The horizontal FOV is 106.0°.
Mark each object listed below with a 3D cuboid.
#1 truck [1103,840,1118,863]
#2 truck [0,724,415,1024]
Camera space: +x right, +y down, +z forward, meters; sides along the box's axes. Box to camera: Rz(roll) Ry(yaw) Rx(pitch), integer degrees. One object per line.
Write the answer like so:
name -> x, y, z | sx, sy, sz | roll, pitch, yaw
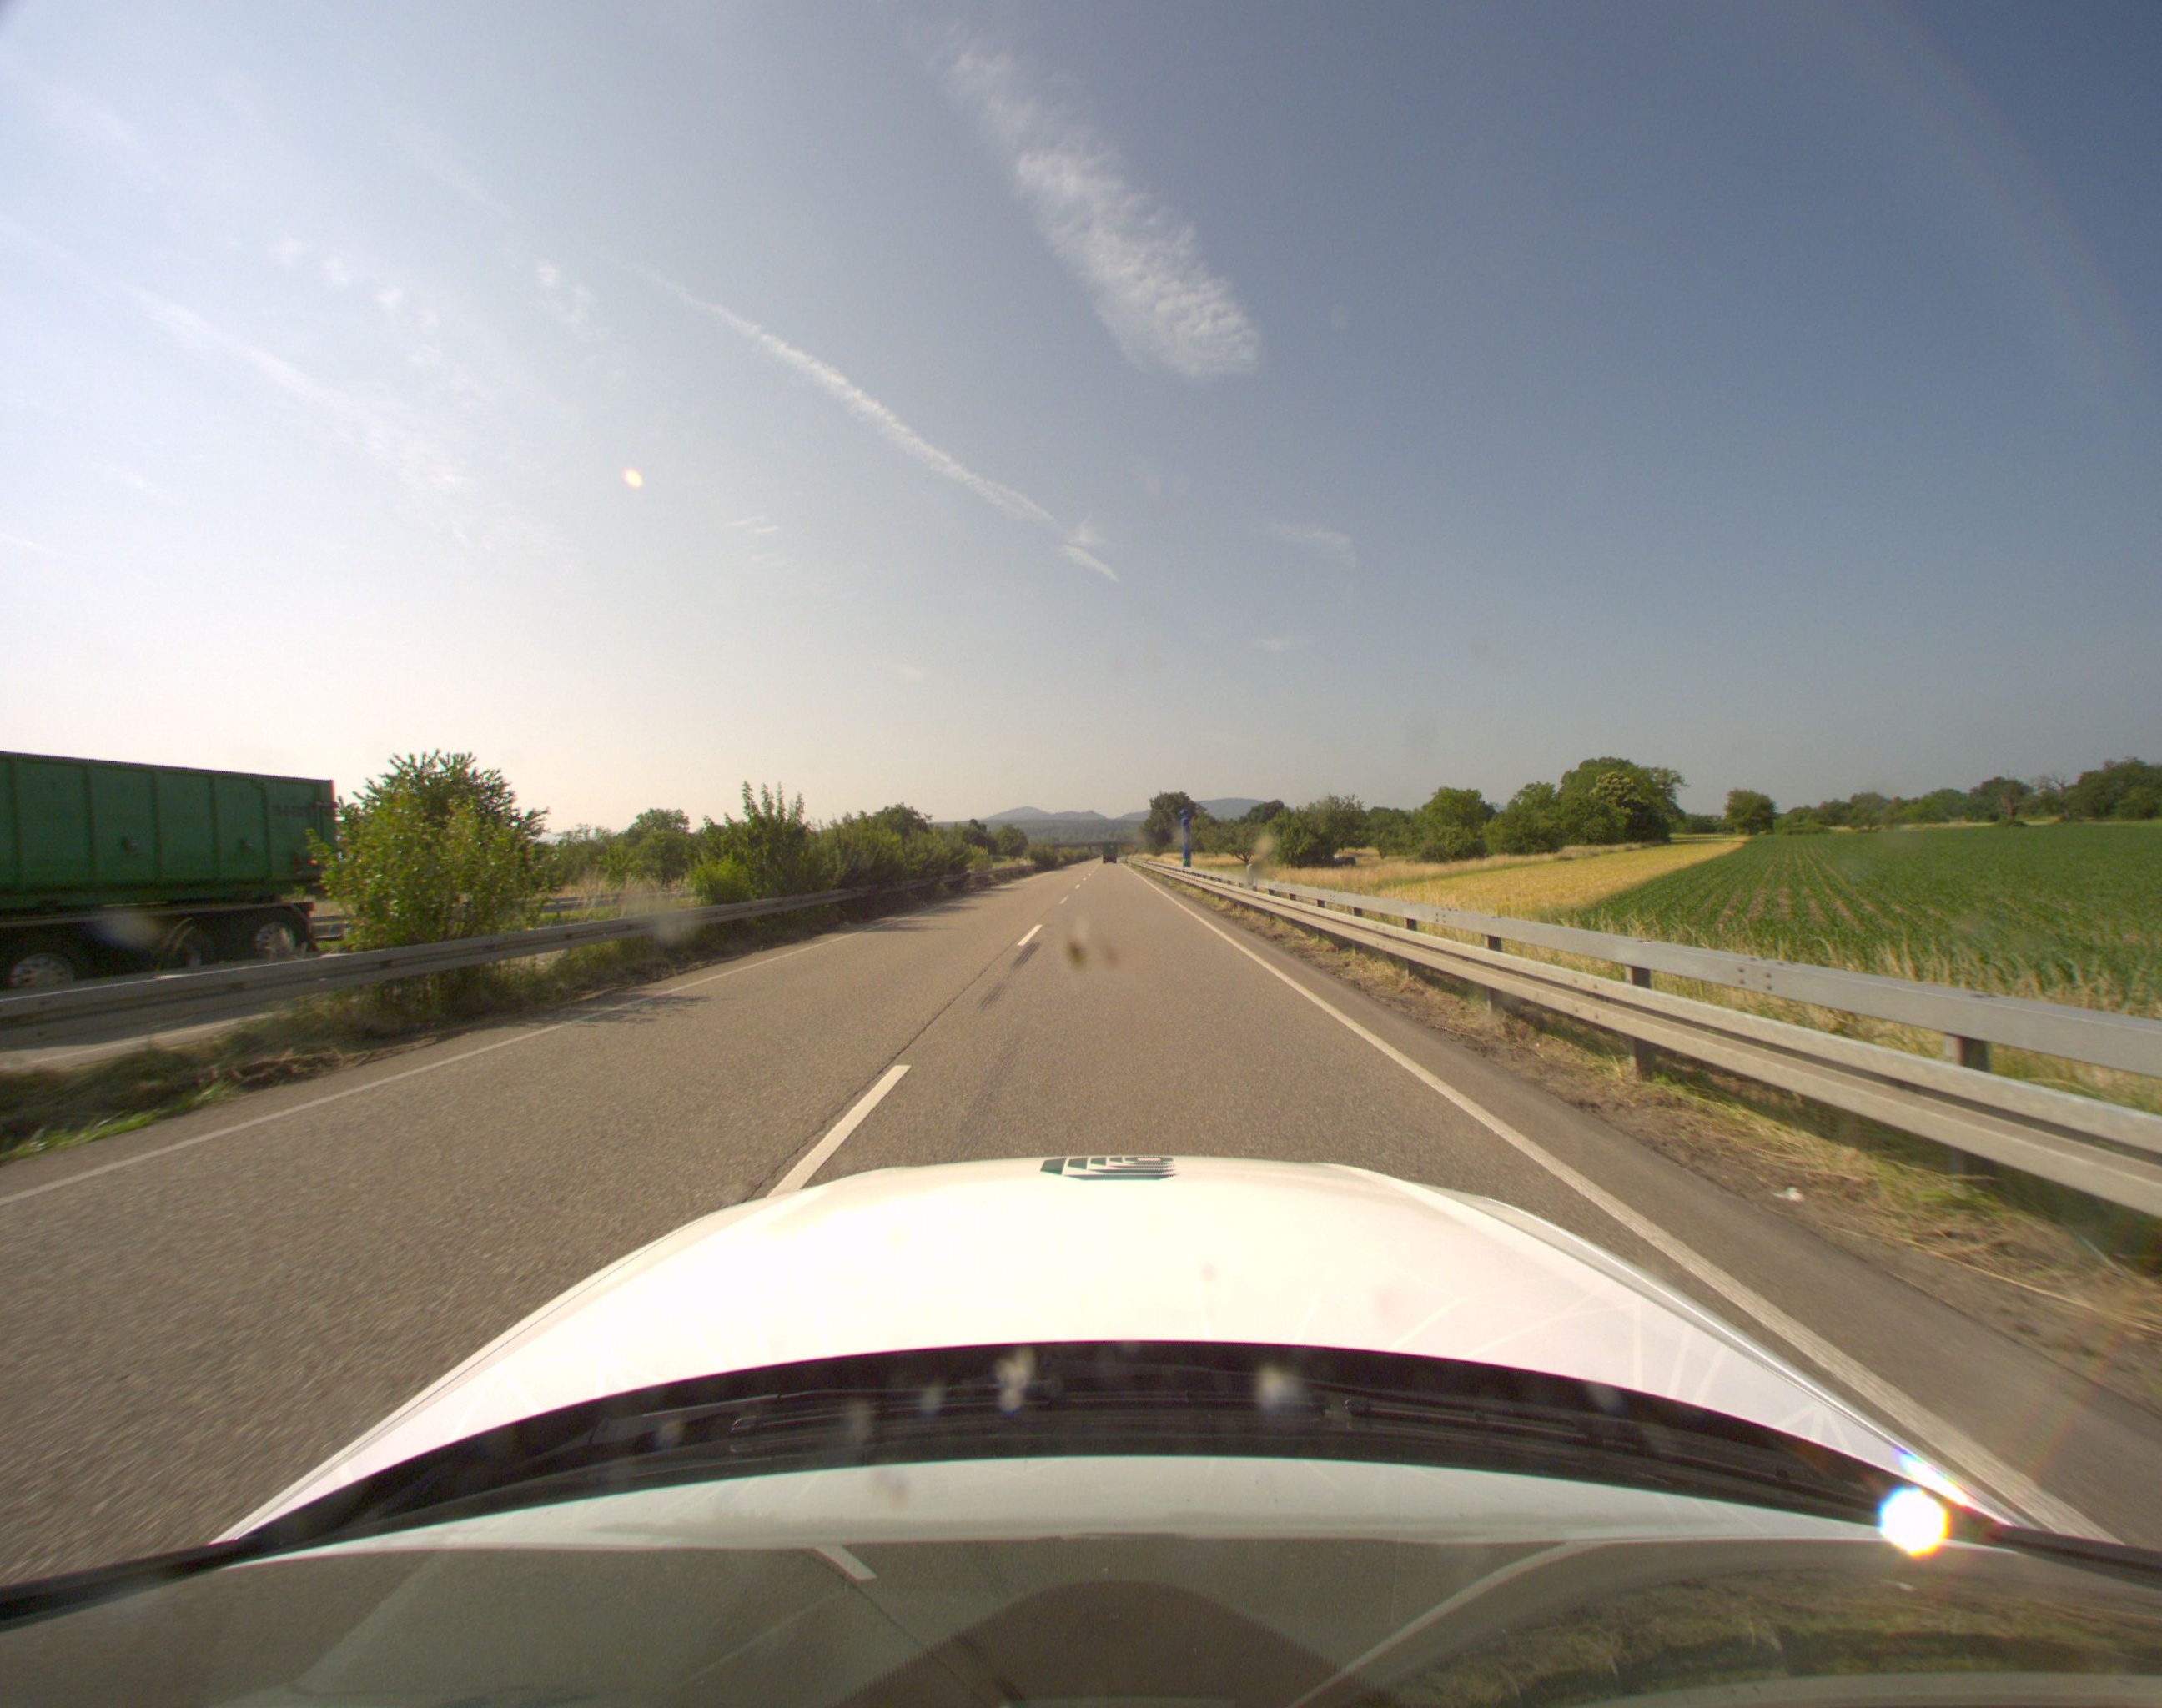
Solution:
truck -> 5.403, -0.580, 148.355 | 2.711, 3.965, 10.422 | 0, 1, 2
truck -> -14.206, 0.268, 10.350 | 2.593, 3.588, 10.390 | -2, 0, 2
